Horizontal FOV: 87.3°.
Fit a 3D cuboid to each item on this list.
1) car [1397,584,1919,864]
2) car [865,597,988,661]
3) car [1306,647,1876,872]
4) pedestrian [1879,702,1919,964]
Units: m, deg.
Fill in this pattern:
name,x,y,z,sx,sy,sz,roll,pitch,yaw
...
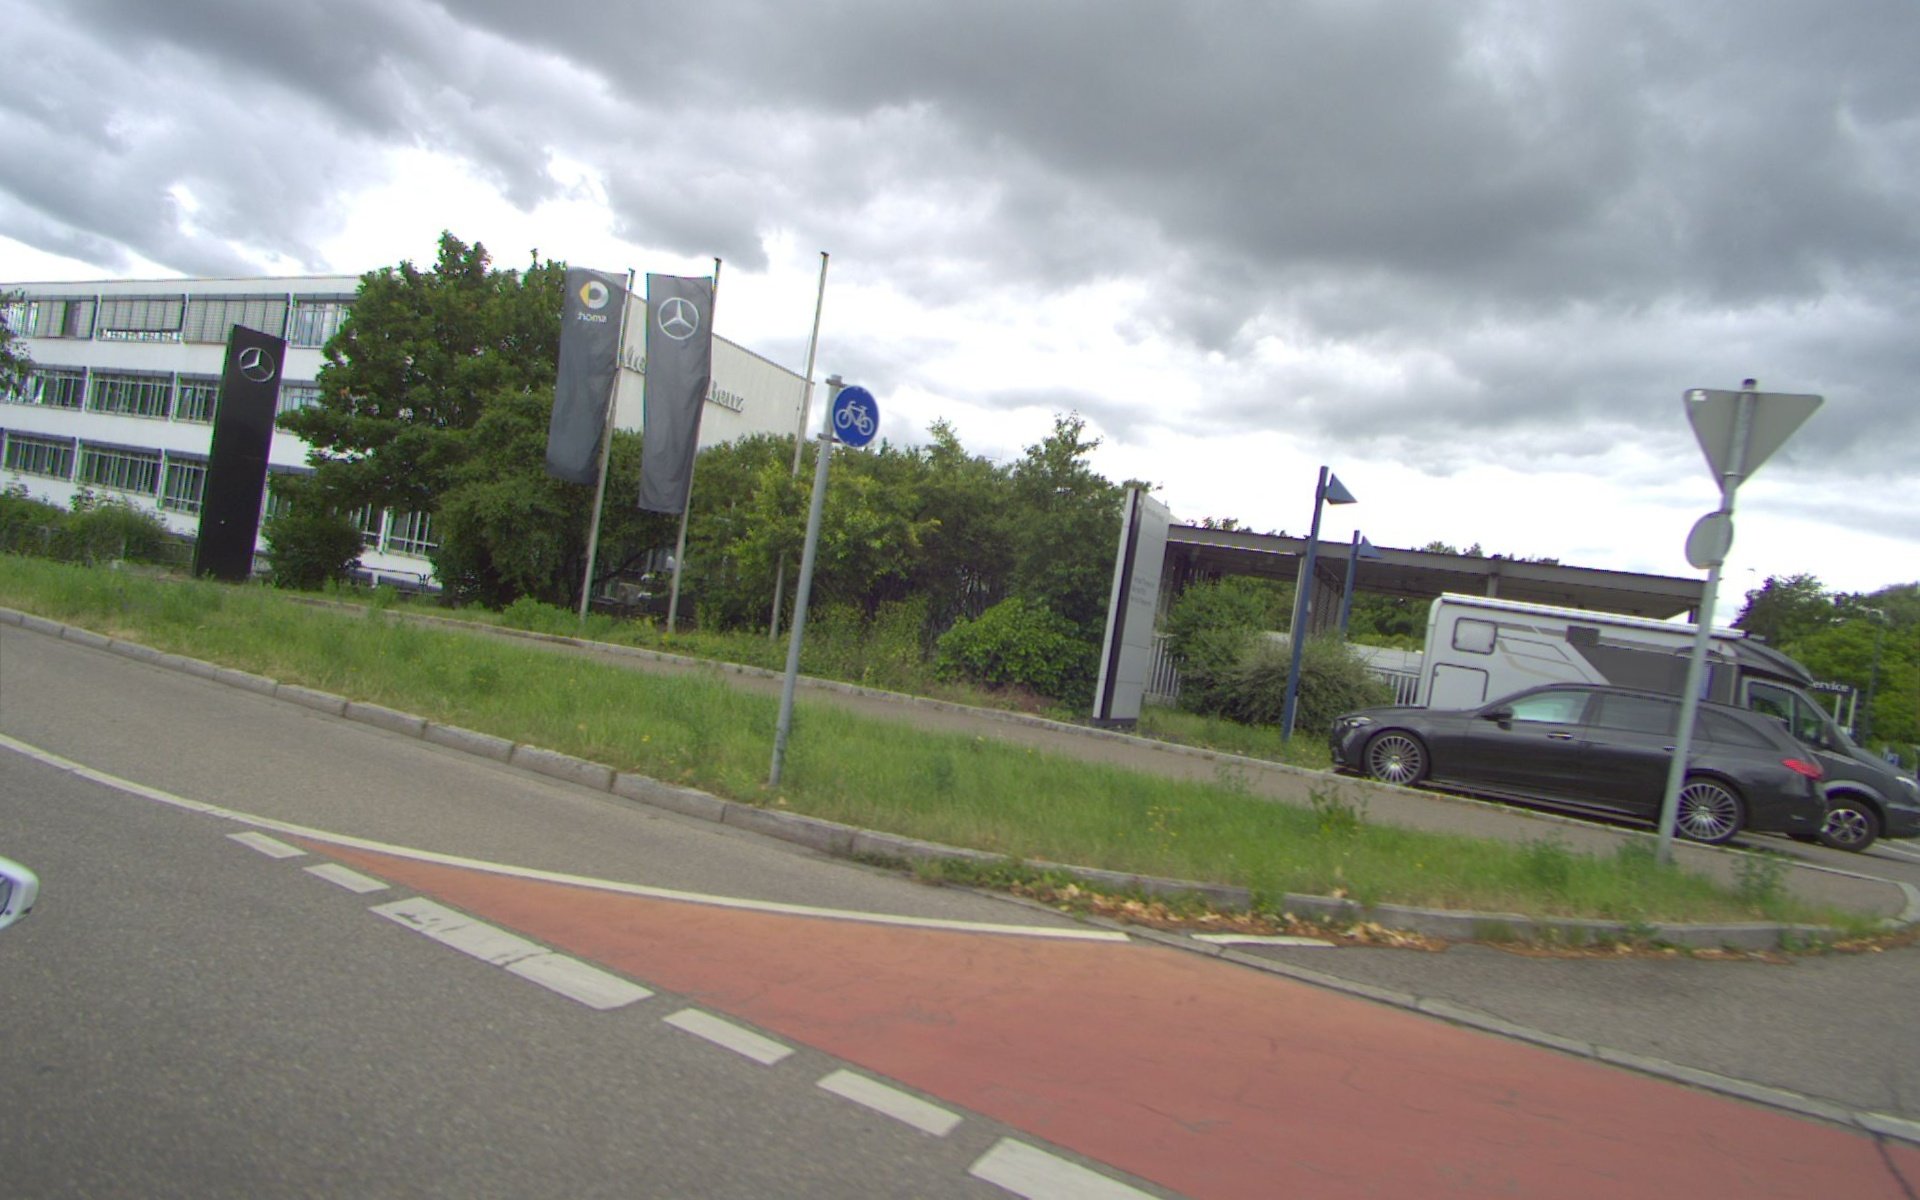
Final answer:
name,x,y,z,sx,sy,sz,roll,pitch,yaw
car,10.553,1.743,15.487,6.606,2.848,2.001,9,-2,27
car,-0.977,0.843,29.061,3.023,1.311,1.599,9,-1,26
car,6.650,1.621,11.258,4.895,1.432,1.852,7,-2,29
pedestrian,6.437,1.486,6.155,0.932,1.586,0.807,5,1,-27
